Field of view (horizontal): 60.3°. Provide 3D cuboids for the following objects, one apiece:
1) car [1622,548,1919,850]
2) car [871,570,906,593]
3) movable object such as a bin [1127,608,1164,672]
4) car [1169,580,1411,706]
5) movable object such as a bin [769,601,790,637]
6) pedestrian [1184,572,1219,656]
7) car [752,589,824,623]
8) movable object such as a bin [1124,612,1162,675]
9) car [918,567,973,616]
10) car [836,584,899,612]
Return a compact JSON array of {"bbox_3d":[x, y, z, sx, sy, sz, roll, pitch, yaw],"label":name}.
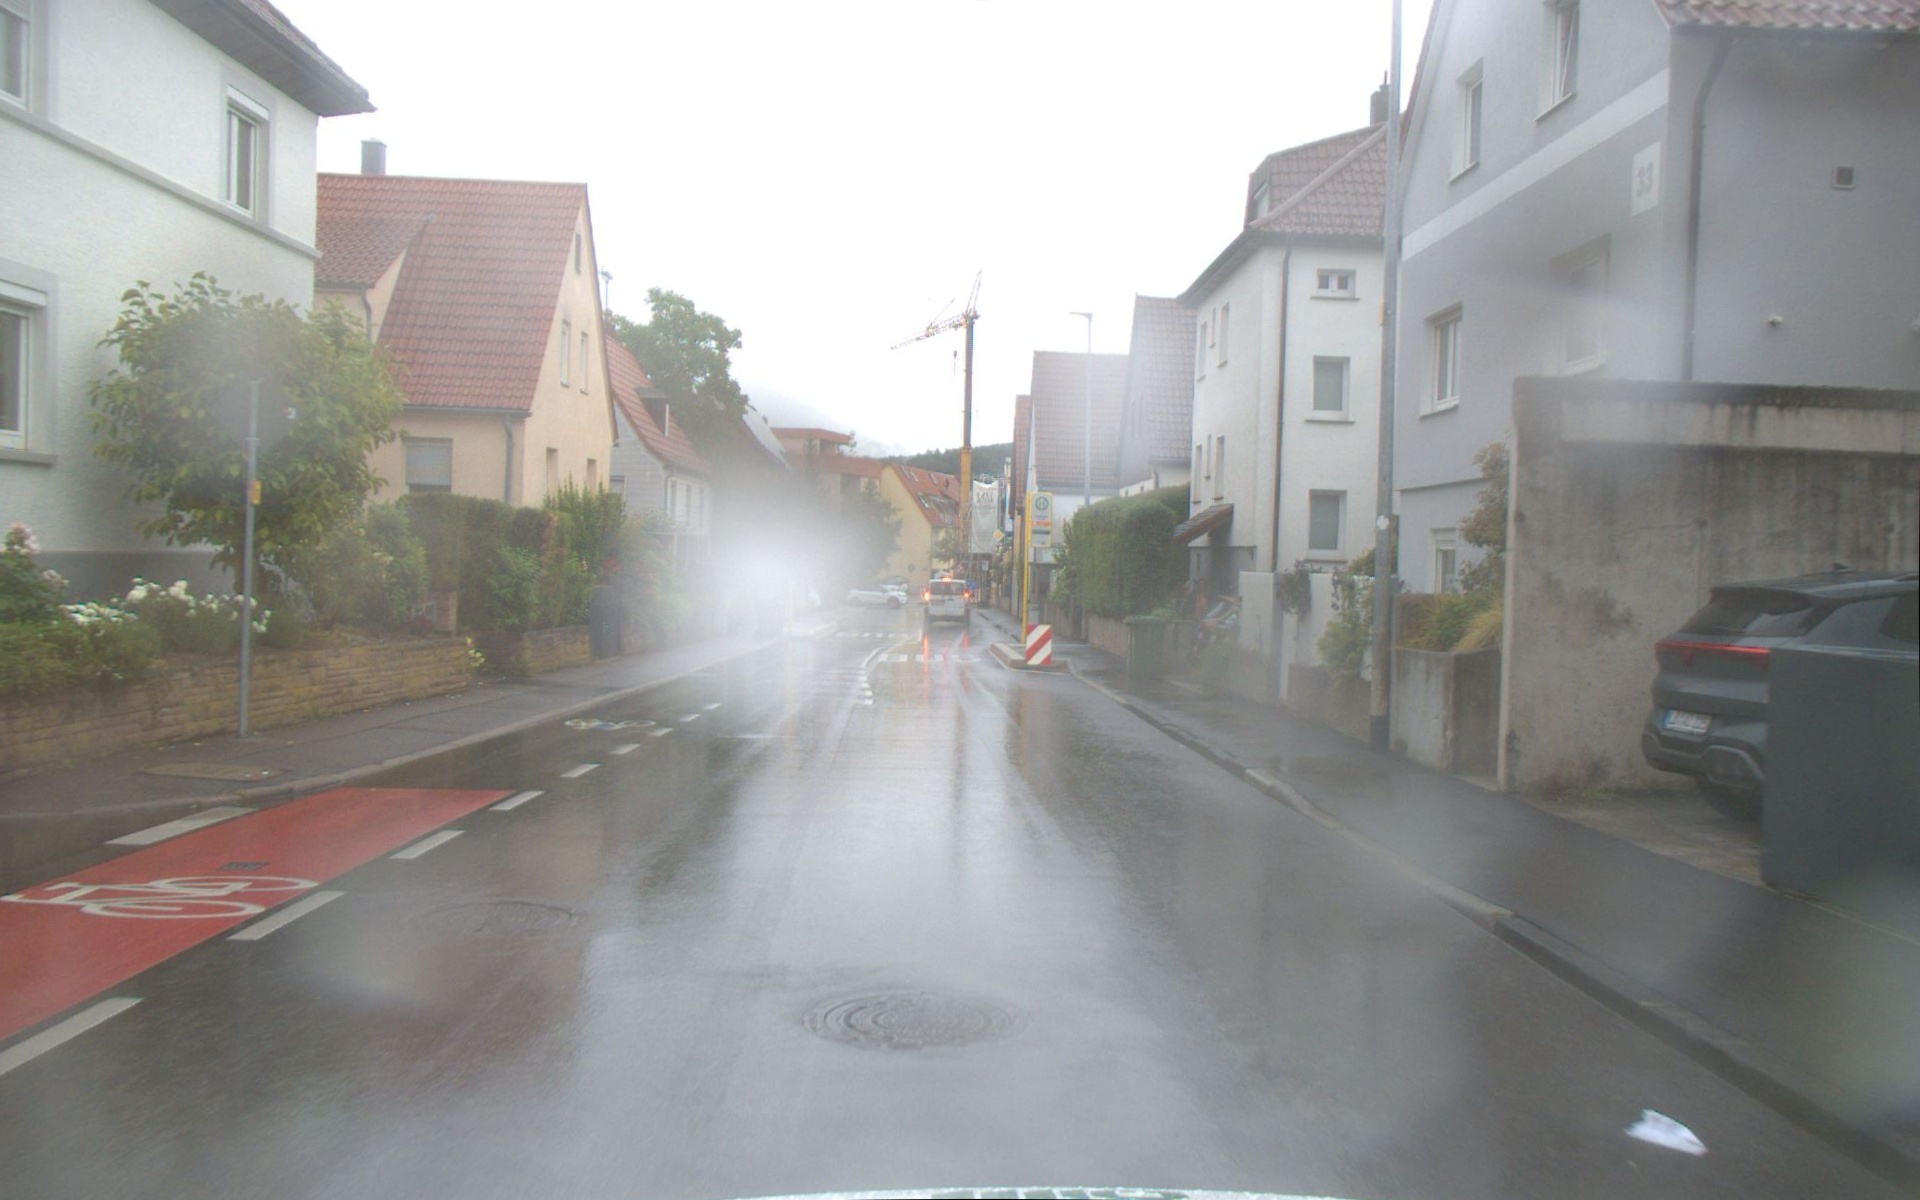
[{"bbox_3d":[6.089,0.529,9.899,3.516,1.611,1.818,0,-1,-4],"label":"car"},{"bbox_3d":[-5.521,-1.441,127.605,1.566,1.707,3.942,2,2,15],"label":"car"},{"bbox_3d":[3.272,0.704,29.147,0.556,1.095,0.537,1,0,-3],"label":"movable object such as a bin"},{"bbox_3d":[5.194,0.657,26.285,3.377,1.506,1.580,7,0,-1],"label":"car"},{"bbox_3d":[-5.062,0.524,46.513,0.459,0.955,0.455,5,2,1],"label":"movable object such as a bin"},{"bbox_3d":[5.076,0.290,34.814,0.615,1.756,0.619,1,0,-1],"label":"pedestrian"},{"bbox_3d":[-8.987,0.314,86.440,3.472,1.555,1.663,3,0,0],"label":"car"},{"bbox_3d":[3.228,0.761,29.200,0.556,1.095,0.537,1,0,-3],"label":"movable object such as a bin"},{"bbox_3d":[-0.583,-0.312,67.216,2.137,1.902,3.999,1,0,-1],"label":"car"},{"bbox_3d":[-6.132,-0.137,109.894,3.902,1.825,1.805,1,0,6],"label":"car"}]
